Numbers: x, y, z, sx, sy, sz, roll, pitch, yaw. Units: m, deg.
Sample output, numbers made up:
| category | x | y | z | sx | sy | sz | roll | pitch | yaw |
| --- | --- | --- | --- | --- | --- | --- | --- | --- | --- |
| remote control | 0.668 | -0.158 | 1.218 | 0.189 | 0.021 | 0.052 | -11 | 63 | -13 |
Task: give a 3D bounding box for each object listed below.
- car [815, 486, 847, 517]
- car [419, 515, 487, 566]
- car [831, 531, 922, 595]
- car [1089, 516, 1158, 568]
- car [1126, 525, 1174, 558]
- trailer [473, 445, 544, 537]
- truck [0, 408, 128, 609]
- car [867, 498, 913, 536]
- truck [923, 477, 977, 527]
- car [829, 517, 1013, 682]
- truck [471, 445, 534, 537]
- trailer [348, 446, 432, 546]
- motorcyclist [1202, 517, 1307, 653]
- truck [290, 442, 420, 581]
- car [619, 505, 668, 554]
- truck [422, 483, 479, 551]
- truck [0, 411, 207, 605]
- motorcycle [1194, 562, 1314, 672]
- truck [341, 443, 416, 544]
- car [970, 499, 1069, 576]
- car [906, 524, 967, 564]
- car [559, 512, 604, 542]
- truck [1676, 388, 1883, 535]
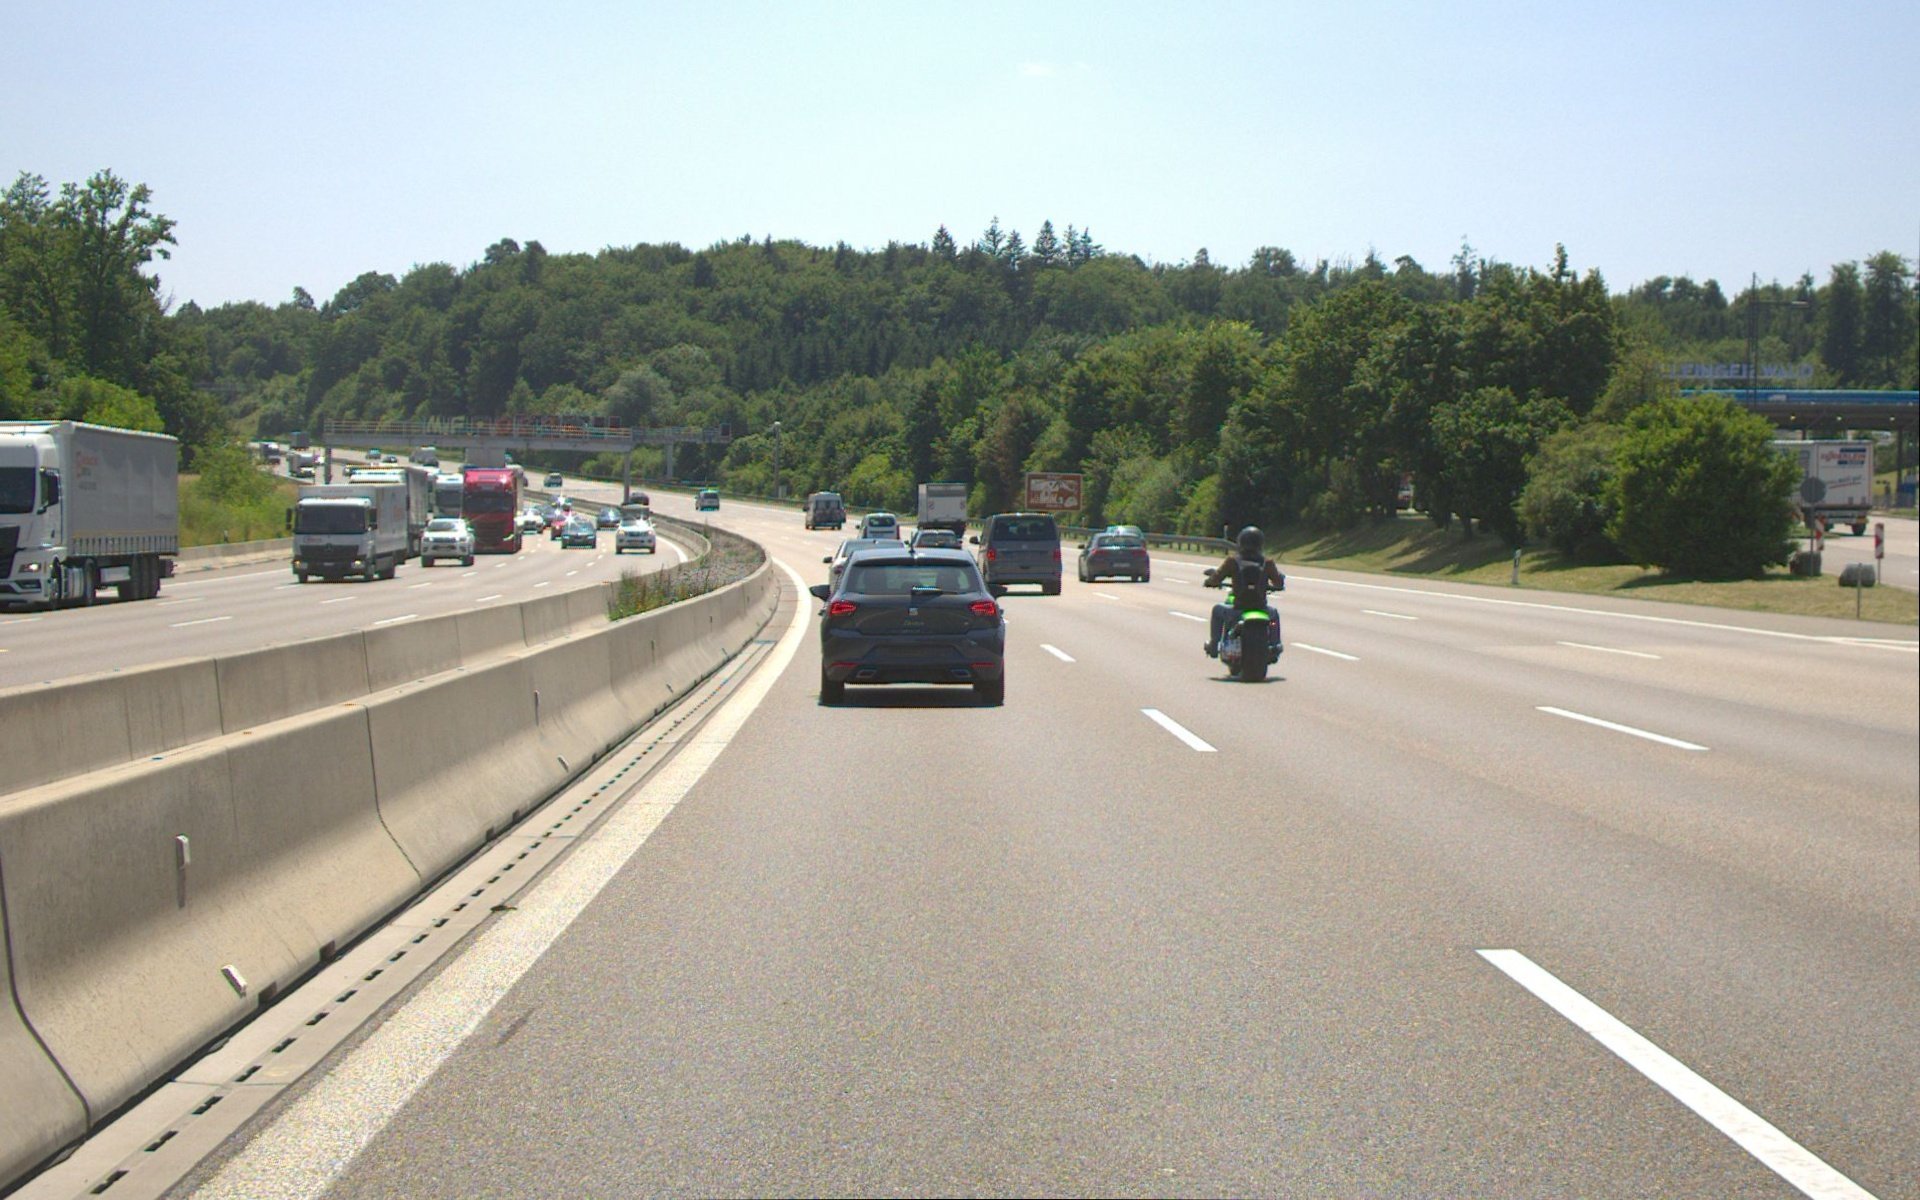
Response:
| category | x | y | z | sx | sy | sz | roll | pitch | yaw |
| --- | --- | --- | --- | --- | --- | --- | --- | --- | --- |
| car | -8.869 | -6.804 | 236.254 | 1.993 | 2.006 | 4.675 | 3 | 2 | -3 |
| car | -19.741 | -2.336 | 134.048 | 1.993 | 1.963 | 5.738 | 0 | 1 | -2 |
| car | -1.724 | -0.761 | 70.098 | 1.782 | 1.261 | 3.460 | -1 | 1 | -2 |
| car | 4.685 | -1.676 | 98.804 | 1.675 | 1.427 | 3.685 | 2 | 1 | -1 |
| car | 7.171 | -2.210 | 130.022 | 1.608 | 1.208 | 3.460 | 0 | 0 | 0 |
| trailer | -22.362 | -5.445 | 170.965 | 2.500 | 4.336 | 14.305 | 0 | 2 | -3 |
| truck | -20.077 | -1.955 | 74.481 | 2.682 | 4.163 | 6.232 | 0 | 1 | -1 |
| car | -3.346 | -3.979 | 164.481 | 1.993 | 1.678 | 4.424 | 3 | 2 | -3 |
| truck | -0.611 | -5.777 | 201.900 | 2.726 | 2.776 | 5.684 | 3 | 2 | -3 |
| car | -0.323 | -0.005 | 32.730 | 1.624 | 1.482 | 3.685 | 0 | 0 | 1 |
| truck | -21.973 | -5.248 | 165.378 | 2.500 | 4.336 | 6.607 | 0 | 2 | -3 |
| trailer | -25.864 | -4.795 | 156.557 | 2.500 | 4.336 | 13.701 | 0 | 2 | -4 |
| motorcyclist | 3.150 | -0.174 | 36.852 | 0.962 | 1.432 | 1.235 | 0 | 1 | -3 |
| truck | -18.922 | -2.751 | 108.085 | 2.531 | 4.163 | 9.620 | 0 | 1 | -1 |
| car | -14.977 | -3.372 | 162.778 | 1.993 | 2.281 | 5.766 | 0 | 1 | -2 |
| truck | -33.879 | -5.505 | 229.186 | 2.899 | 4.336 | 16.560 | 0 | 1 | -5 |
| truck | -20.576 | -2.119 | 81.151 | 2.757 | 4.163 | 14.510 | 0 | 1 | -1 |
| motorcycle | 3.140 | 0.167 | 36.935 | 0.977 | 1.125 | 2.271 | 0 | 1 | -3 |
| truck | -25.376 | -4.666 | 150.301 | 2.500 | 4.336 | 6.607 | 0 | 2 | -3 |
| car | 1.429 | -1.543 | 84.296 | 2.097 | 1.845 | 4.082 | 0 | 1 | -3 |
| car | -0.831 | -1.912 | 117.081 | 1.842 | 1.218 | 4.225 | 3 | 2 | -3 |
| car | -19.605 | -3.782 | 178.132 | 1.993 | 1.542 | 4.882 | 0 | 1 | -2 |
| truck | 36.567 | -6.054 | 154.334 | 5.508 | 6.244 | 15.432 | 0 | 1 | 0 |
